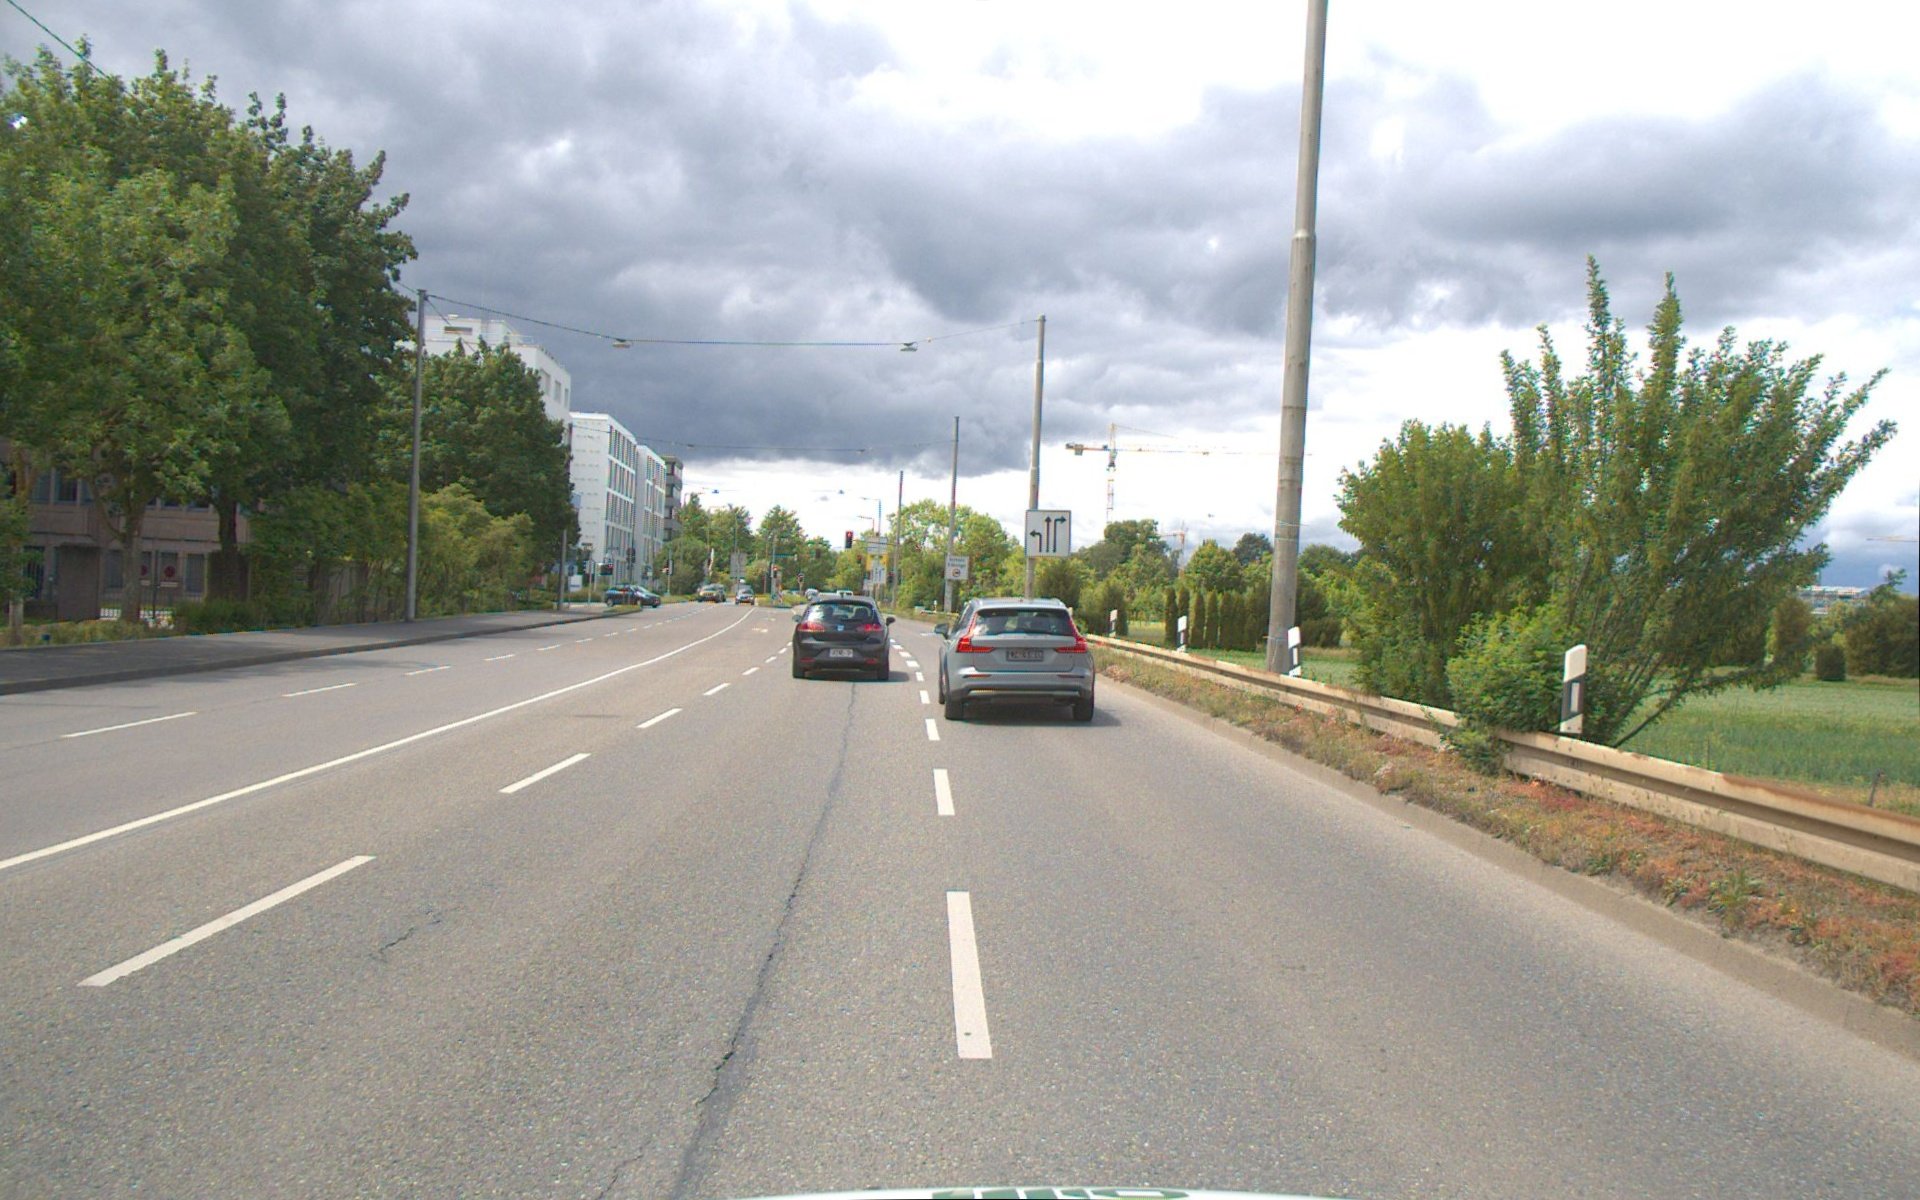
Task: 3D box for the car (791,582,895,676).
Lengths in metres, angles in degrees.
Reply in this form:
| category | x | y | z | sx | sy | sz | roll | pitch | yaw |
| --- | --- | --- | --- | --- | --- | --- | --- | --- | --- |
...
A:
| category | x | y | z | sx | sy | sz | roll | pitch | yaw |
| --- | --- | --- | --- | --- | --- | --- | --- | --- | --- |
| car | -2.106 | 0.511 | 30.218 | 1.713 | 1.509 | 3.997 | 3 | -1 | -3 |

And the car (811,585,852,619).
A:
| category | x | y | z | sx | sy | sz | roll | pitch | yaw |
| --- | --- | --- | --- | --- | --- | --- | --- | --- | --- |
| car | -6.913 | 0.088 | 88.613 | 1.946 | 1.617 | 4.220 | 3 | 1 | -7 |

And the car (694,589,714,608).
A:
| category | x | y | z | sx | sy | sz | roll | pitch | yaw |
| --- | --- | --- | --- | --- | --- | --- | --- | --- | --- |
| car | -23.513 | -0.161 | 151.946 | 1.718 | 1.659 | 3.994 | 1 | 0 | -7 |

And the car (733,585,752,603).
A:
| category | x | y | z | sx | sy | sz | roll | pitch | yaw |
| --- | --- | --- | --- | --- | --- | --- | --- | --- | --- |
| car | -19.796 | -0.550 | 150.561 | 1.637 | 1.551 | 4.002 | 0 | 1 | -7 |

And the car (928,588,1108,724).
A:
| category | x | y | z | sx | sy | sz | roll | pitch | yaw |
| --- | --- | --- | --- | --- | --- | --- | --- | --- | --- |
| car | 0.638 | 0.673 | 21.451 | 1.919 | 1.552 | 4.337 | 1 | -1 | -3 |

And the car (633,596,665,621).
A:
| category | x | y | z | sx | sy | sz | roll | pitch | yaw |
| --- | --- | --- | --- | --- | --- | --- | --- | --- | --- |
| car | -22.013 | 0.587 | 117.258 | 1.762 | 1.612 | 4.307 | 5 | -1 | -6 |

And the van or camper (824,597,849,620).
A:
| category | x | y | z | sx | sy | sz | roll | pitch | yaw |
| --- | --- | --- | --- | --- | --- | --- | --- | --- | --- |
| van or camper | -12.169 | 0.801 | 162.836 | 1.865 | 1.958 | 3.992 | 5 | 0 | -10 |
